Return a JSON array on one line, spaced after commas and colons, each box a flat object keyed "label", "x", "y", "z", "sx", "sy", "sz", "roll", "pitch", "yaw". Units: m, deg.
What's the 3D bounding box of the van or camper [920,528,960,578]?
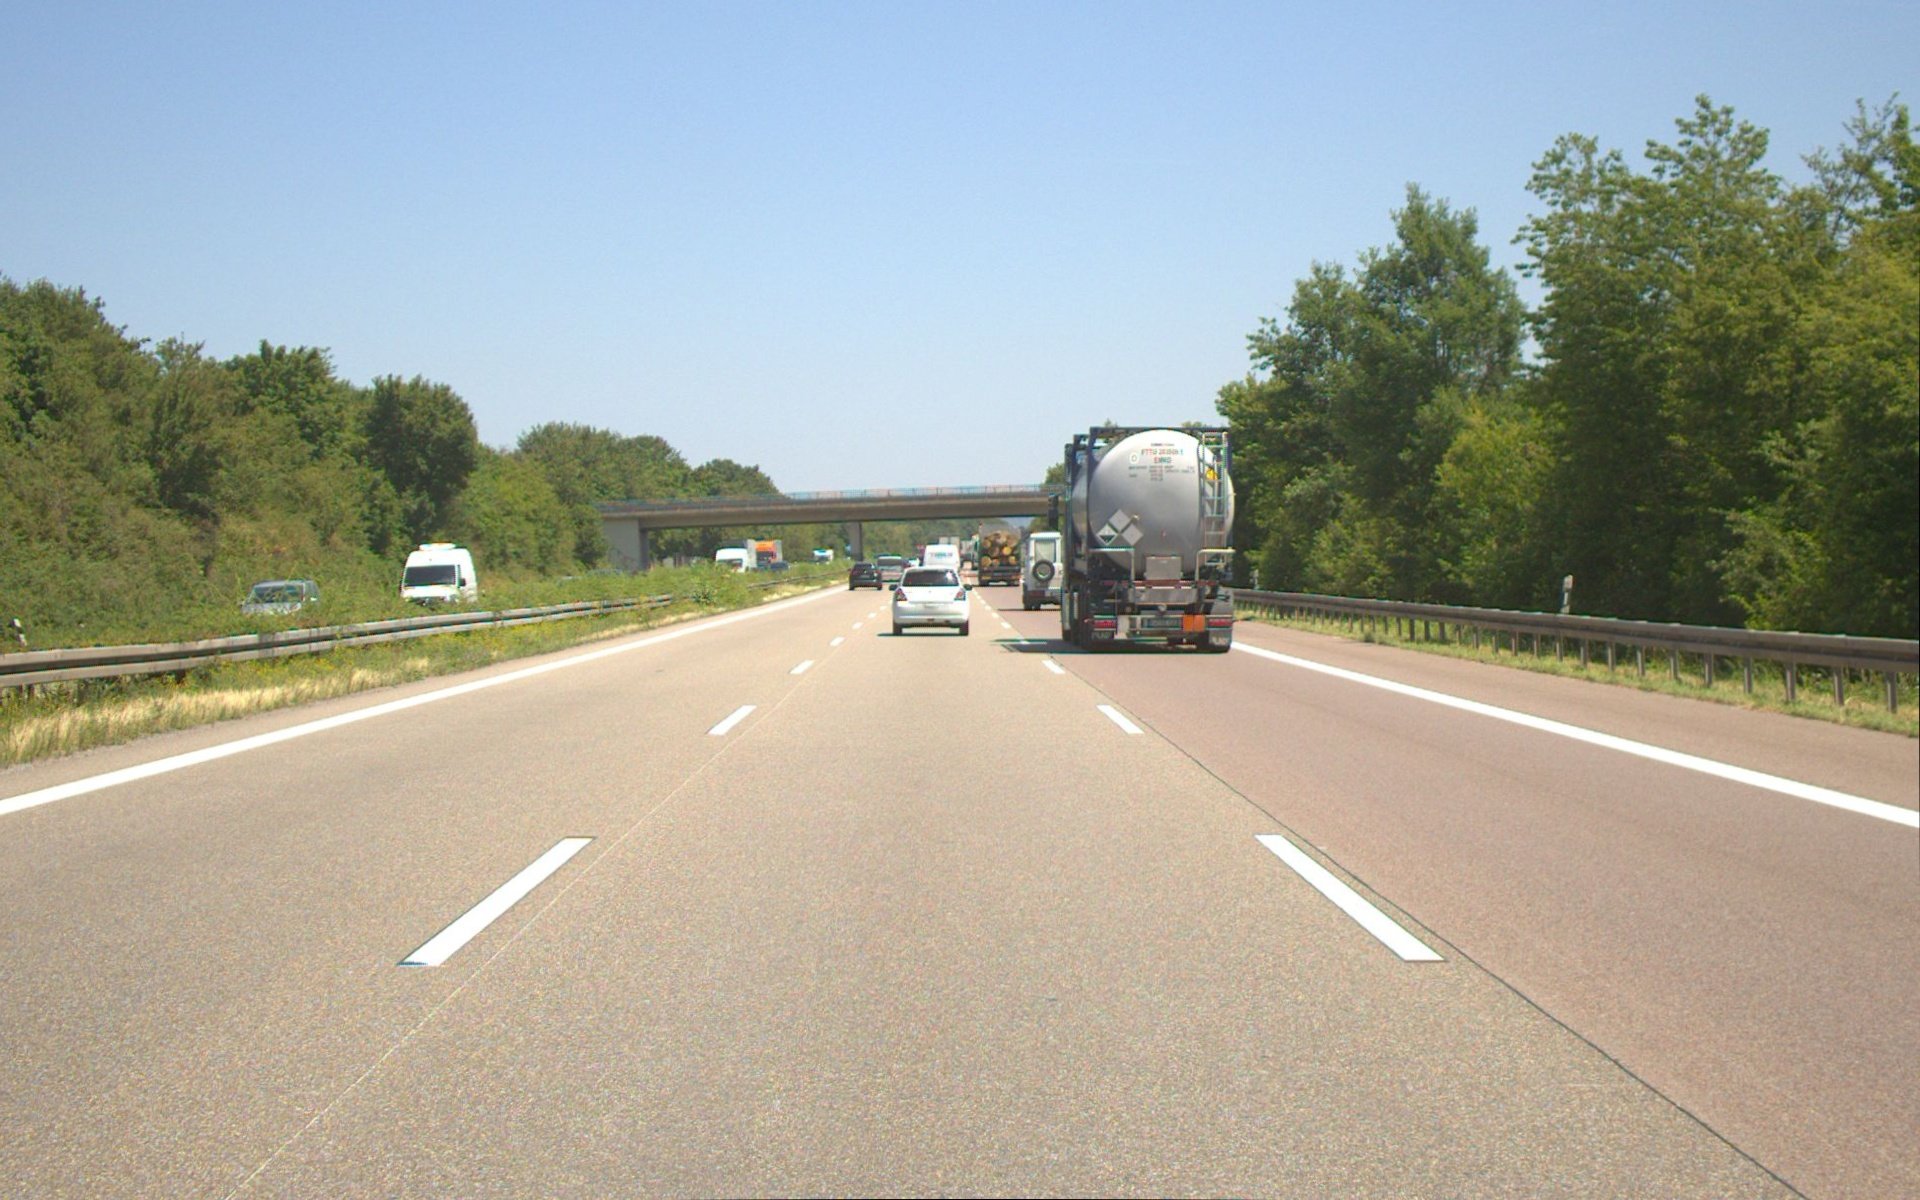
[{"label": "van or camper", "x": -1.062, "y": -2.529, "z": 185.565, "sx": 2.058, "sy": 2.613, "sz": 5.985, "roll": 0, "pitch": 1, "yaw": 1}]

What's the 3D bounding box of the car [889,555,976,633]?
[{"label": "car", "x": -0.608, "y": -0.151, "z": 76.329, "sx": 1.857, "sy": 1.646, "sz": 4.000, "roll": 1, "pitch": 1, "yaw": -1}]

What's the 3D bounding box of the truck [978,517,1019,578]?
[{"label": "truck", "x": 2.568, "y": -3.436, "z": 226.151, "sx": 2.670, "sy": 3.981, "sz": 6.636, "roll": 0, "pitch": 1, "yaw": 1}]

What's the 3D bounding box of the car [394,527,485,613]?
[{"label": "car", "x": -17.652, "y": -1.018, "z": 116.849, "sx": 2.035, "sy": 2.737, "sz": 6.658, "roll": -2, "pitch": 1, "yaw": -1}]

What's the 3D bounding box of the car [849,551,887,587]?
[{"label": "car", "x": -5.215, "y": -1.773, "z": 195.912, "sx": 2.051, "sy": 2.007, "sz": 4.177, "roll": 1, "pitch": 1, "yaw": -1}]

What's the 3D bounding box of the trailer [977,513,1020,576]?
[{"label": "trailer", "x": 2.456, "y": -3.509, "z": 218.918, "sx": 2.653, "sy": 3.945, "sz": 13.636, "roll": 0, "pitch": 1, "yaw": 1}]

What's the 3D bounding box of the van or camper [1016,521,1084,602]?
[{"label": "van or camper", "x": 3.050, "y": -1.314, "z": 117.236, "sx": 2.113, "sy": 2.694, "sz": 6.368, "roll": 0, "pitch": 1, "yaw": 0}]

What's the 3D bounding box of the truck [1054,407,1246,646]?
[{"label": "truck", "x": 3.433, "y": -1.324, "z": 65.451, "sx": 2.798, "sy": 4.032, "sz": 13.355, "roll": 1, "pitch": 1, "yaw": 0}]

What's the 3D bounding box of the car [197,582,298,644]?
[{"label": "car", "x": -18.344, "y": 0.315, "z": 88.670, "sx": 1.742, "sy": 1.503, "sz": 4.416, "roll": 1, "pitch": 1, "yaw": -1}]
